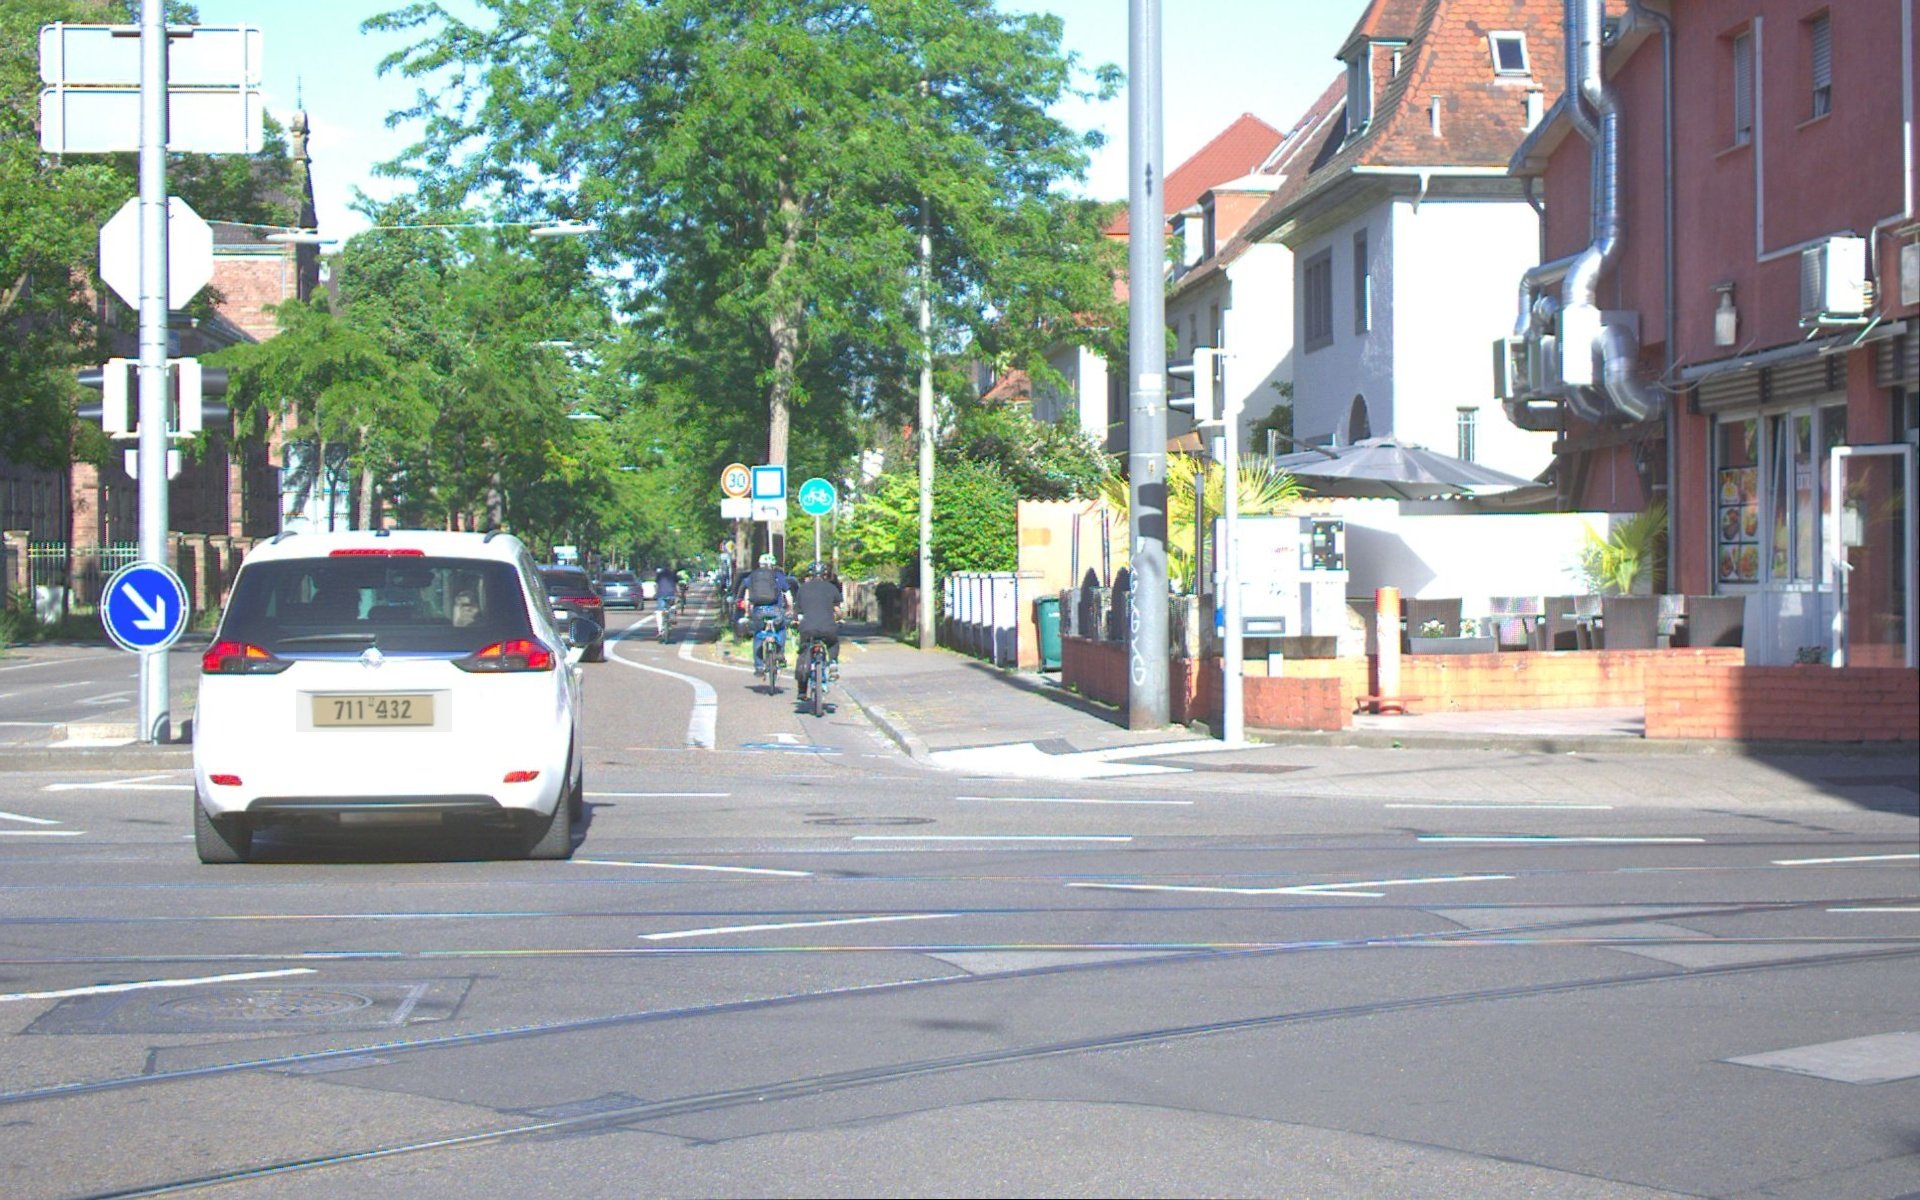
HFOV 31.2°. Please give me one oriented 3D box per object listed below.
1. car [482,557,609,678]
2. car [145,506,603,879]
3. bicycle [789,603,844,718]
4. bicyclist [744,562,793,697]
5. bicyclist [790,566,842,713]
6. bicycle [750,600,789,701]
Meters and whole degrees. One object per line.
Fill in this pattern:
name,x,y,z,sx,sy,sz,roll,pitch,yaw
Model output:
car,-7.131,0.262,58.839,1.991,1.843,4.251,2,1,-8
car,-2.942,0.381,18.113,1.962,1.659,4.250,2,1,-5
bicycle,-1.597,0.652,38.003,0.558,1.185,1.996,0,1,-4
bicyclist,-2.402,0.361,43.094,0.608,1.650,0.795,0,2,-3
bicyclist,-1.602,0.434,38.251,0.554,1.611,0.686,0,2,-3
bicycle,-2.379,0.619,42.780,0.470,1.185,1.996,0,1,-4
